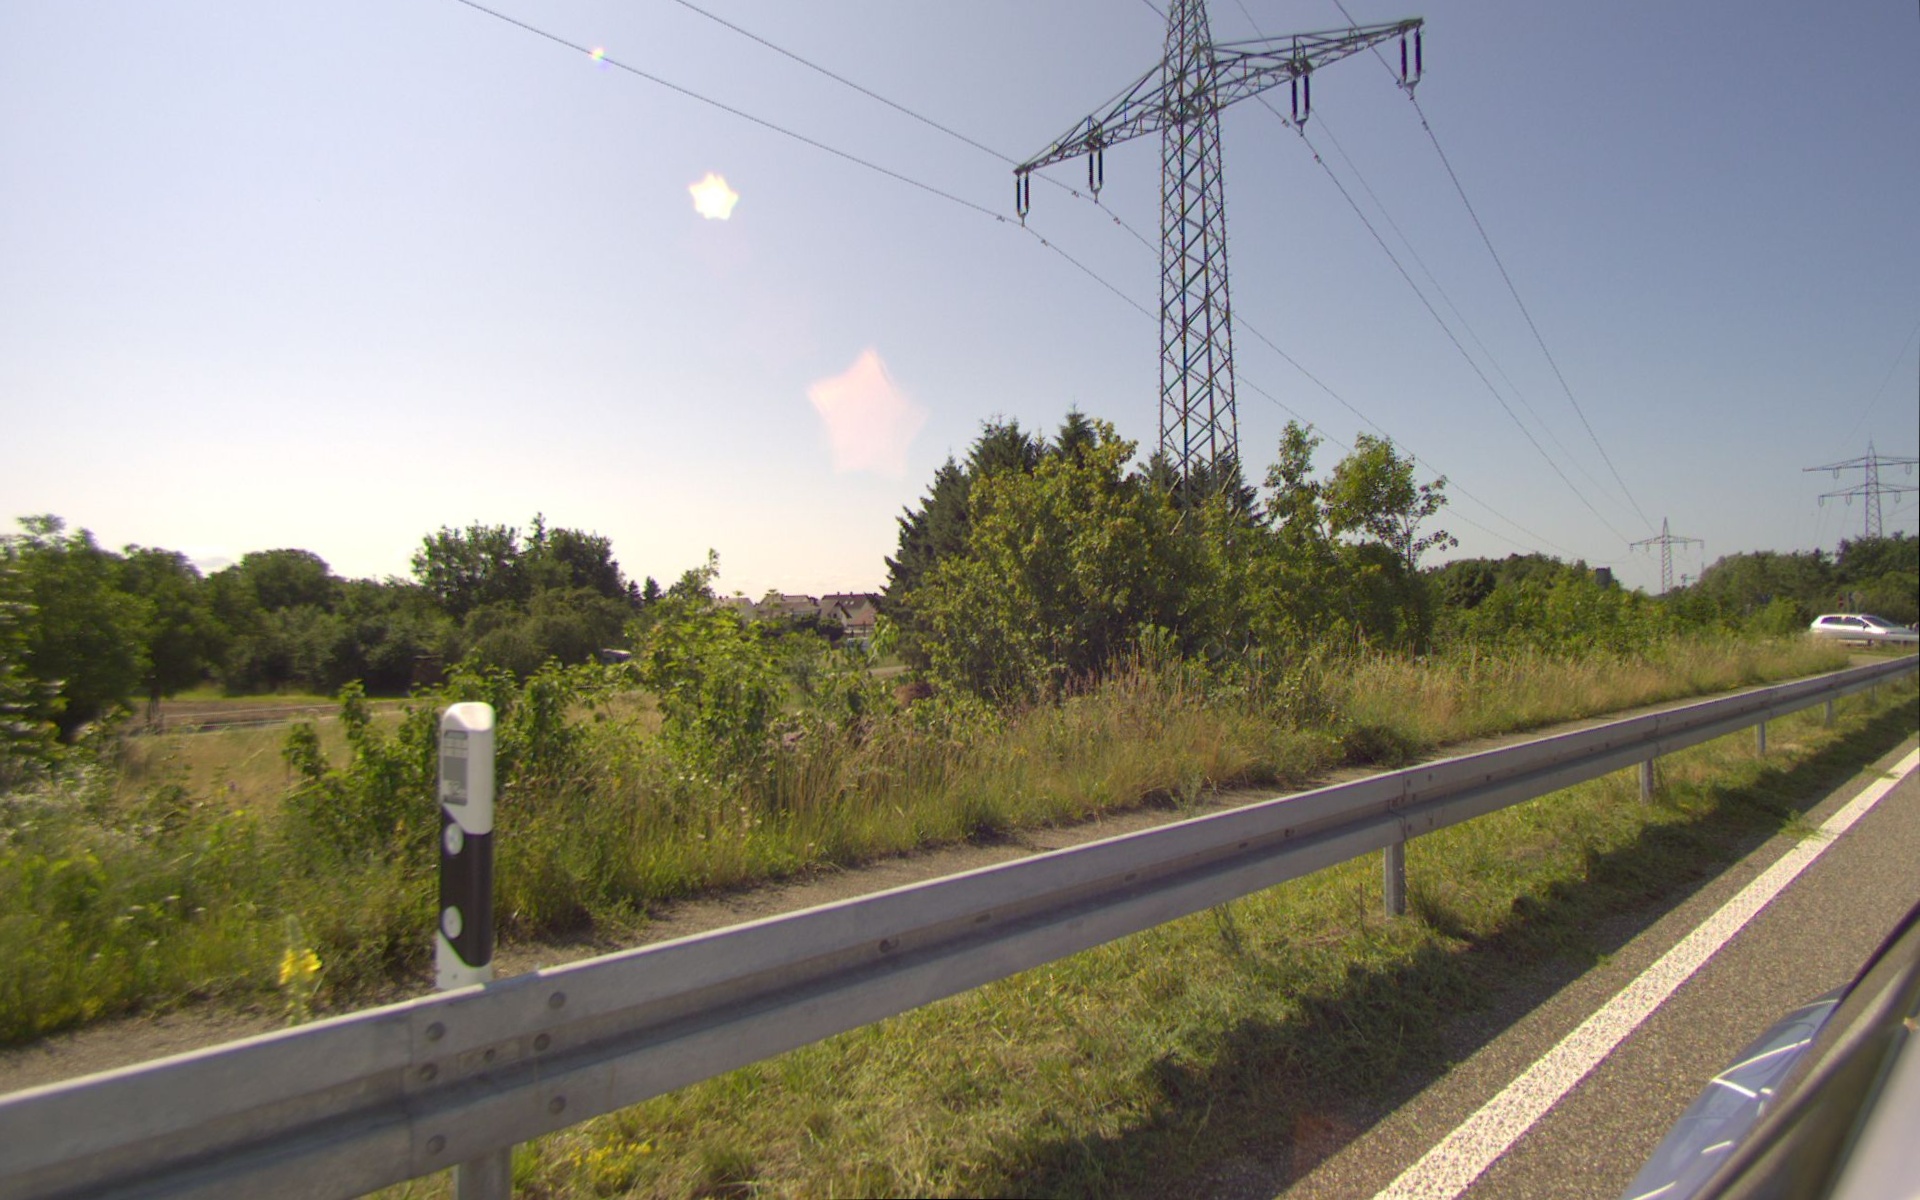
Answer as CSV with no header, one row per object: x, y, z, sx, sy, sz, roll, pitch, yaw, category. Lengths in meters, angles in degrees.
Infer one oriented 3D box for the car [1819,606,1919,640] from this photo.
41.668,1.017,46.066,1.517,1.487,3.668,0,0,-14,car
